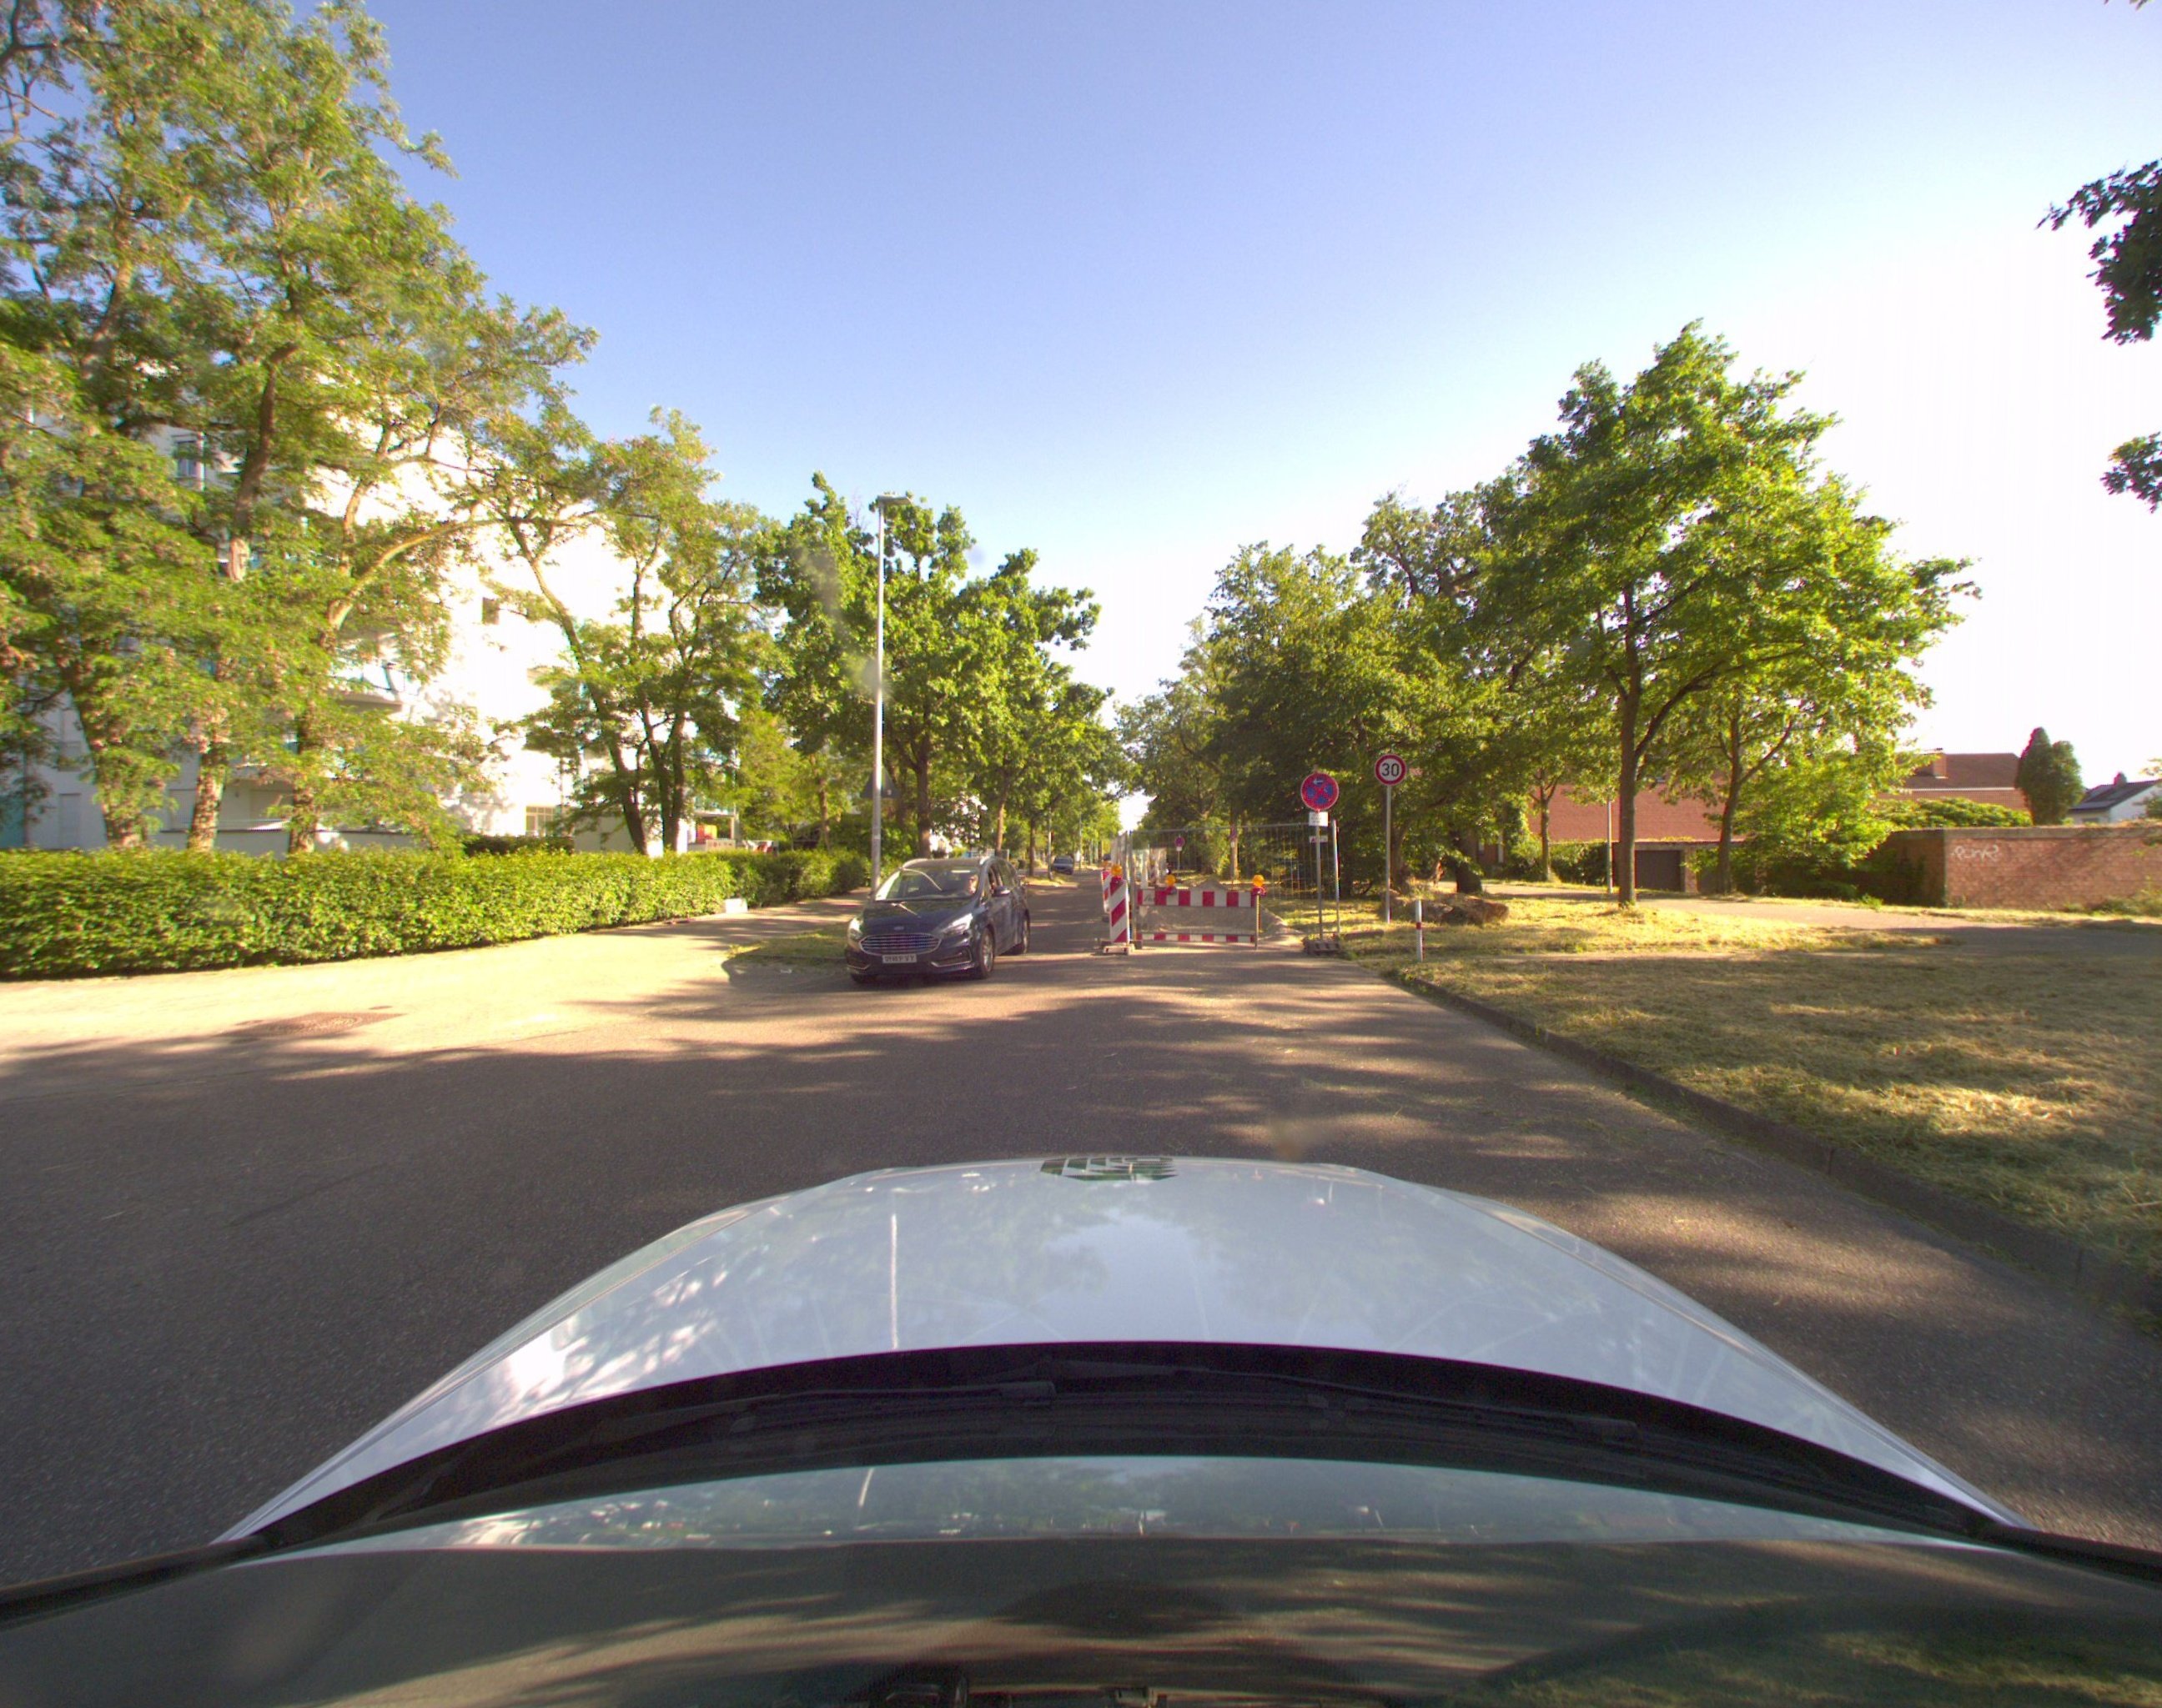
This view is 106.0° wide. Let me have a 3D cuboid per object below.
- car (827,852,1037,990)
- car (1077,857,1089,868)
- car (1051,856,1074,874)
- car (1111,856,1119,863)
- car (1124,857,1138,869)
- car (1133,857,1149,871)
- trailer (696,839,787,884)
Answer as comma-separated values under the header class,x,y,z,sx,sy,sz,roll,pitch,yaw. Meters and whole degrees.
class,x,y,z,sx,sy,sz,roll,pitch,yaw
car,-1.949,0.825,12.181,1.812,1.625,4.500,-2,0,6
car,0.255,1.125,103.419,1.356,1.302,3.481,1,-1,1
car,-1.519,0.931,68.298,1.744,1.478,3.838,0,0,2
car,7.661,1.264,182.645,1.705,1.585,3.998,1,-1,0
car,5.539,0.999,90.634,1.356,1.302,3.481,1,-1,1
car,5.708,0.936,77.640,1.356,1.302,3.481,1,-1,1
trailer,-16.361,0.351,39.473,1.964,2.042,4.442,0,0,10
